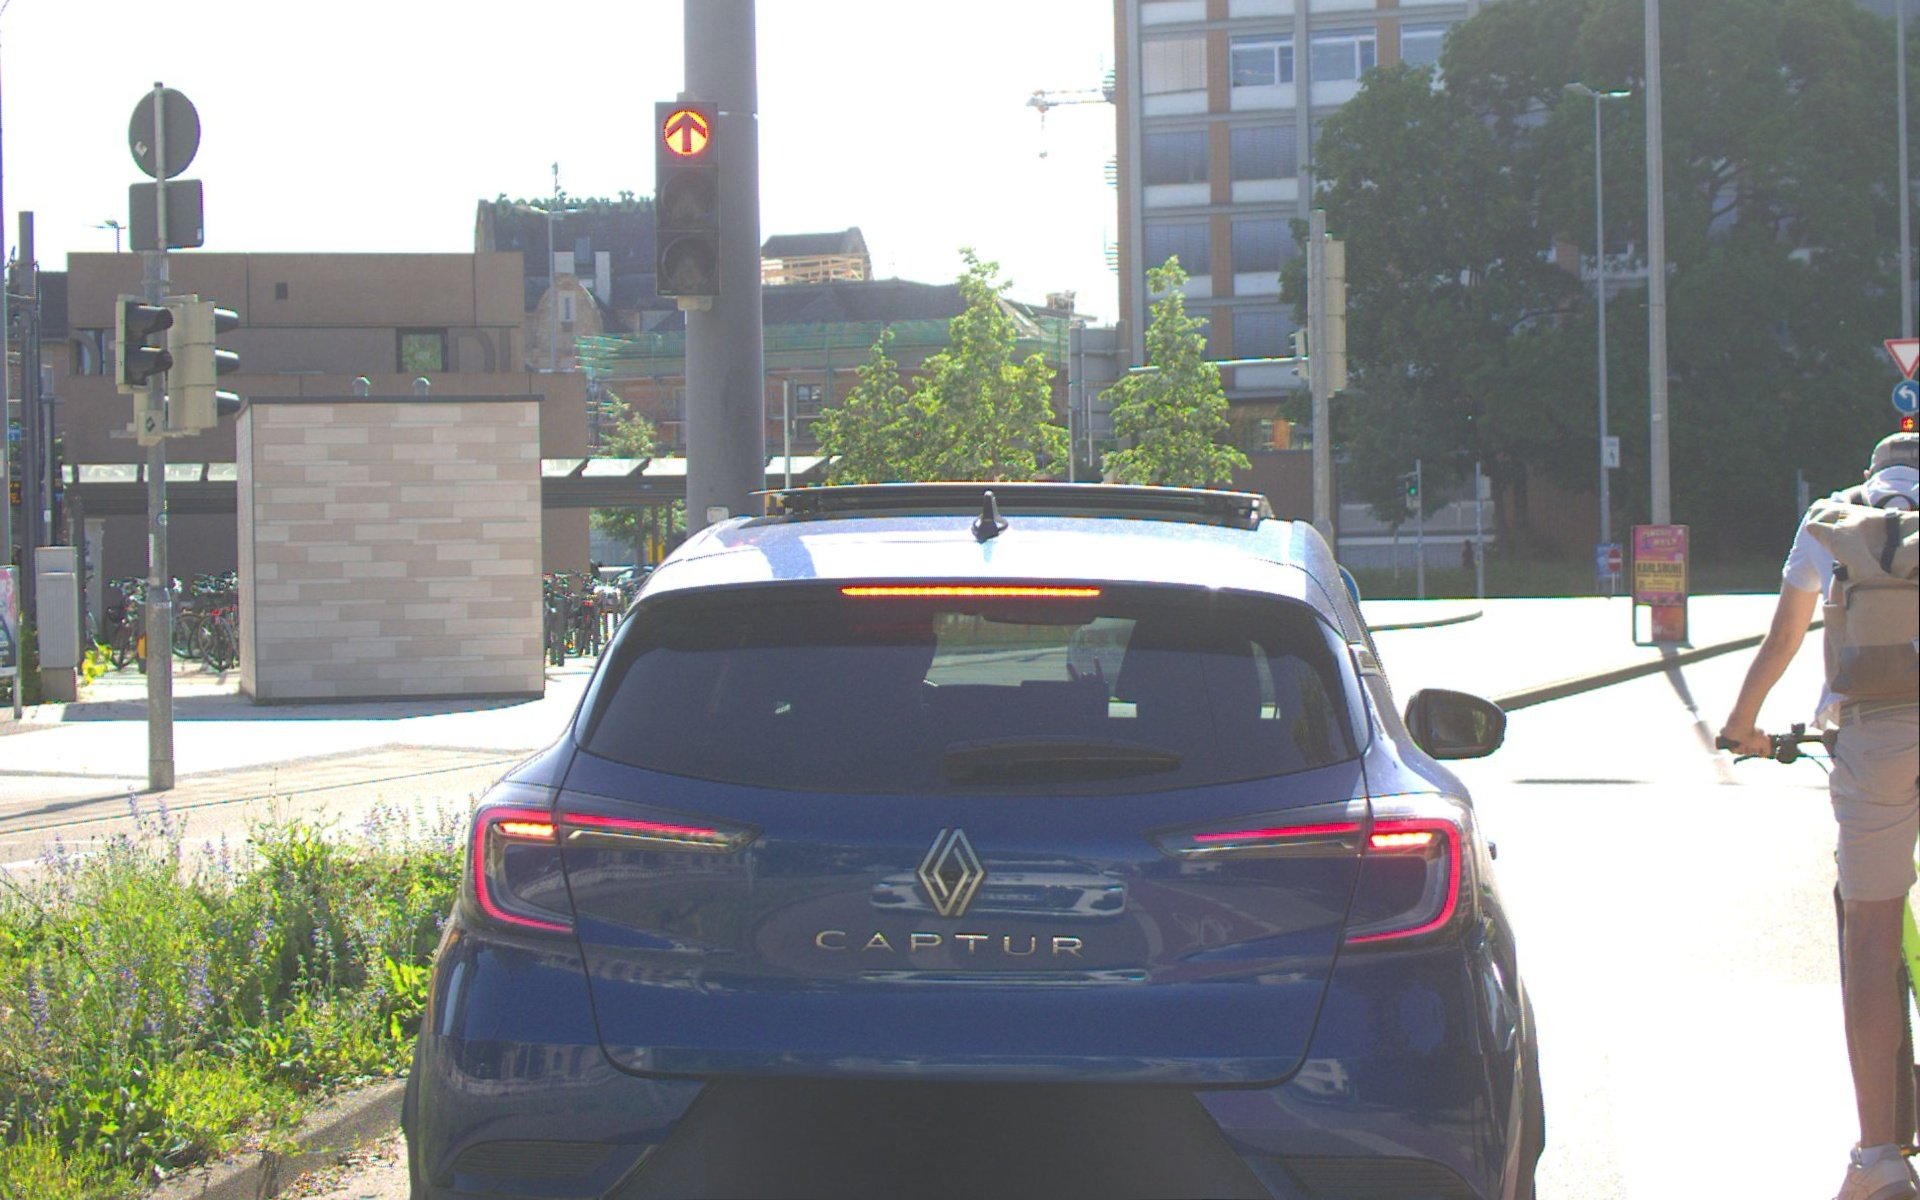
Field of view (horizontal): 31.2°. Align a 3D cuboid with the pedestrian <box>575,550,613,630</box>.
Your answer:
[{"bbox_3d":[-8.528,-0.228,80.225,0.726,1.850,0.702,0,0,8],"label":"pedestrian"}]

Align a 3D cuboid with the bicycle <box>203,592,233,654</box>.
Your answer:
[{"bbox_3d":[-11.359,0.346,52.652,0.421,0.934,1.379,1,0,-11],"label":"bicycle"}]

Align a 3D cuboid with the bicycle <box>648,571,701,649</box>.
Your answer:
[{"bbox_3d":[-4.056,0.142,48.765,0.580,1.084,2.059,0,0,-9],"label":"bicycle"}]

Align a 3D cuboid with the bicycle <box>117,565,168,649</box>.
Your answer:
[{"bbox_3d":[-10.908,0.094,45.907,0.565,1.090,2.030,0,0,-11],"label":"bicycle"}]

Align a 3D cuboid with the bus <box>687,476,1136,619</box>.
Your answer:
[{"bbox_3d":[-1.410,-1.230,86.708,12.434,3.384,2.876,0,0,40],"label":"bus"}]

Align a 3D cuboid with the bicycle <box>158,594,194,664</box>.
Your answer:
[{"bbox_3d":[-10.860,0.399,47.630,0.421,0.934,1.306,1,0,-15],"label":"bicycle"}]

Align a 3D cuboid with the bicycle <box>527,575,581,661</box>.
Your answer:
[{"bbox_3d":[-5.042,0.223,42.658,0.580,1.054,1.817,0,0,-9],"label":"bicycle"}]

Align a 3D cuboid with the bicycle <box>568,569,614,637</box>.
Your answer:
[{"bbox_3d":[-6.030,0.051,56.167,0.580,1.084,1.872,0,0,-11],"label":"bicycle"}]

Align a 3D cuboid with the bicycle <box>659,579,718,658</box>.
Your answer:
[{"bbox_3d":[-3.414,0.230,43.121,0.580,0.958,2.059,0,0,-9],"label":"bicycle"}]

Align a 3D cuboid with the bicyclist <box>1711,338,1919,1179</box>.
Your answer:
[{"bbox_3d":[2.057,0.321,7.616,0.664,1.741,1.005,0,1,7],"label":"bicyclist"}]

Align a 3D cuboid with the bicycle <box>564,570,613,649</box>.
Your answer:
[{"bbox_3d":[-5.266,0.138,48.693,0.580,1.084,2.059,0,0,-9],"label":"bicycle"}]

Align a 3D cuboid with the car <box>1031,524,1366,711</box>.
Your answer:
[{"bbox_3d":[2.167,0.107,30.111,1.802,1.388,4.089,-1,3,21],"label":"car"}]

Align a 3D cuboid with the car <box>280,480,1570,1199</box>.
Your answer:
[{"bbox_3d":[0.096,0.605,6.684,1.823,1.594,3.658,1,1,5],"label":"car"}]

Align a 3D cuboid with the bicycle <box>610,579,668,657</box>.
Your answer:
[{"bbox_3d":[-4.026,0.228,43.034,0.580,0.958,2.059,0,0,-9],"label":"bicycle"}]

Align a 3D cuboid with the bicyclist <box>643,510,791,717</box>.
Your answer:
[{"bbox_3d":[-1.976,0.107,28.103,0.880,1.639,1.060,-1,0,14],"label":"bicyclist"}]

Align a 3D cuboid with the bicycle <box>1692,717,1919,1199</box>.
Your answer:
[{"bbox_3d":[2.068,0.845,7.686,0.663,1.043,1.890,0,2,6],"label":"bicycle"}]

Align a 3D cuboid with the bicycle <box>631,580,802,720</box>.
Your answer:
[{"bbox_3d":[-1.964,0.388,28.056,0.773,1.077,2.034,-1,0,14],"label":"bicycle"}]

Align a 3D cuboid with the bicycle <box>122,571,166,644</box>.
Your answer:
[{"bbox_3d":[-12.382,0.119,52.216,0.565,1.090,2.030,0,0,-11],"label":"bicycle"}]
